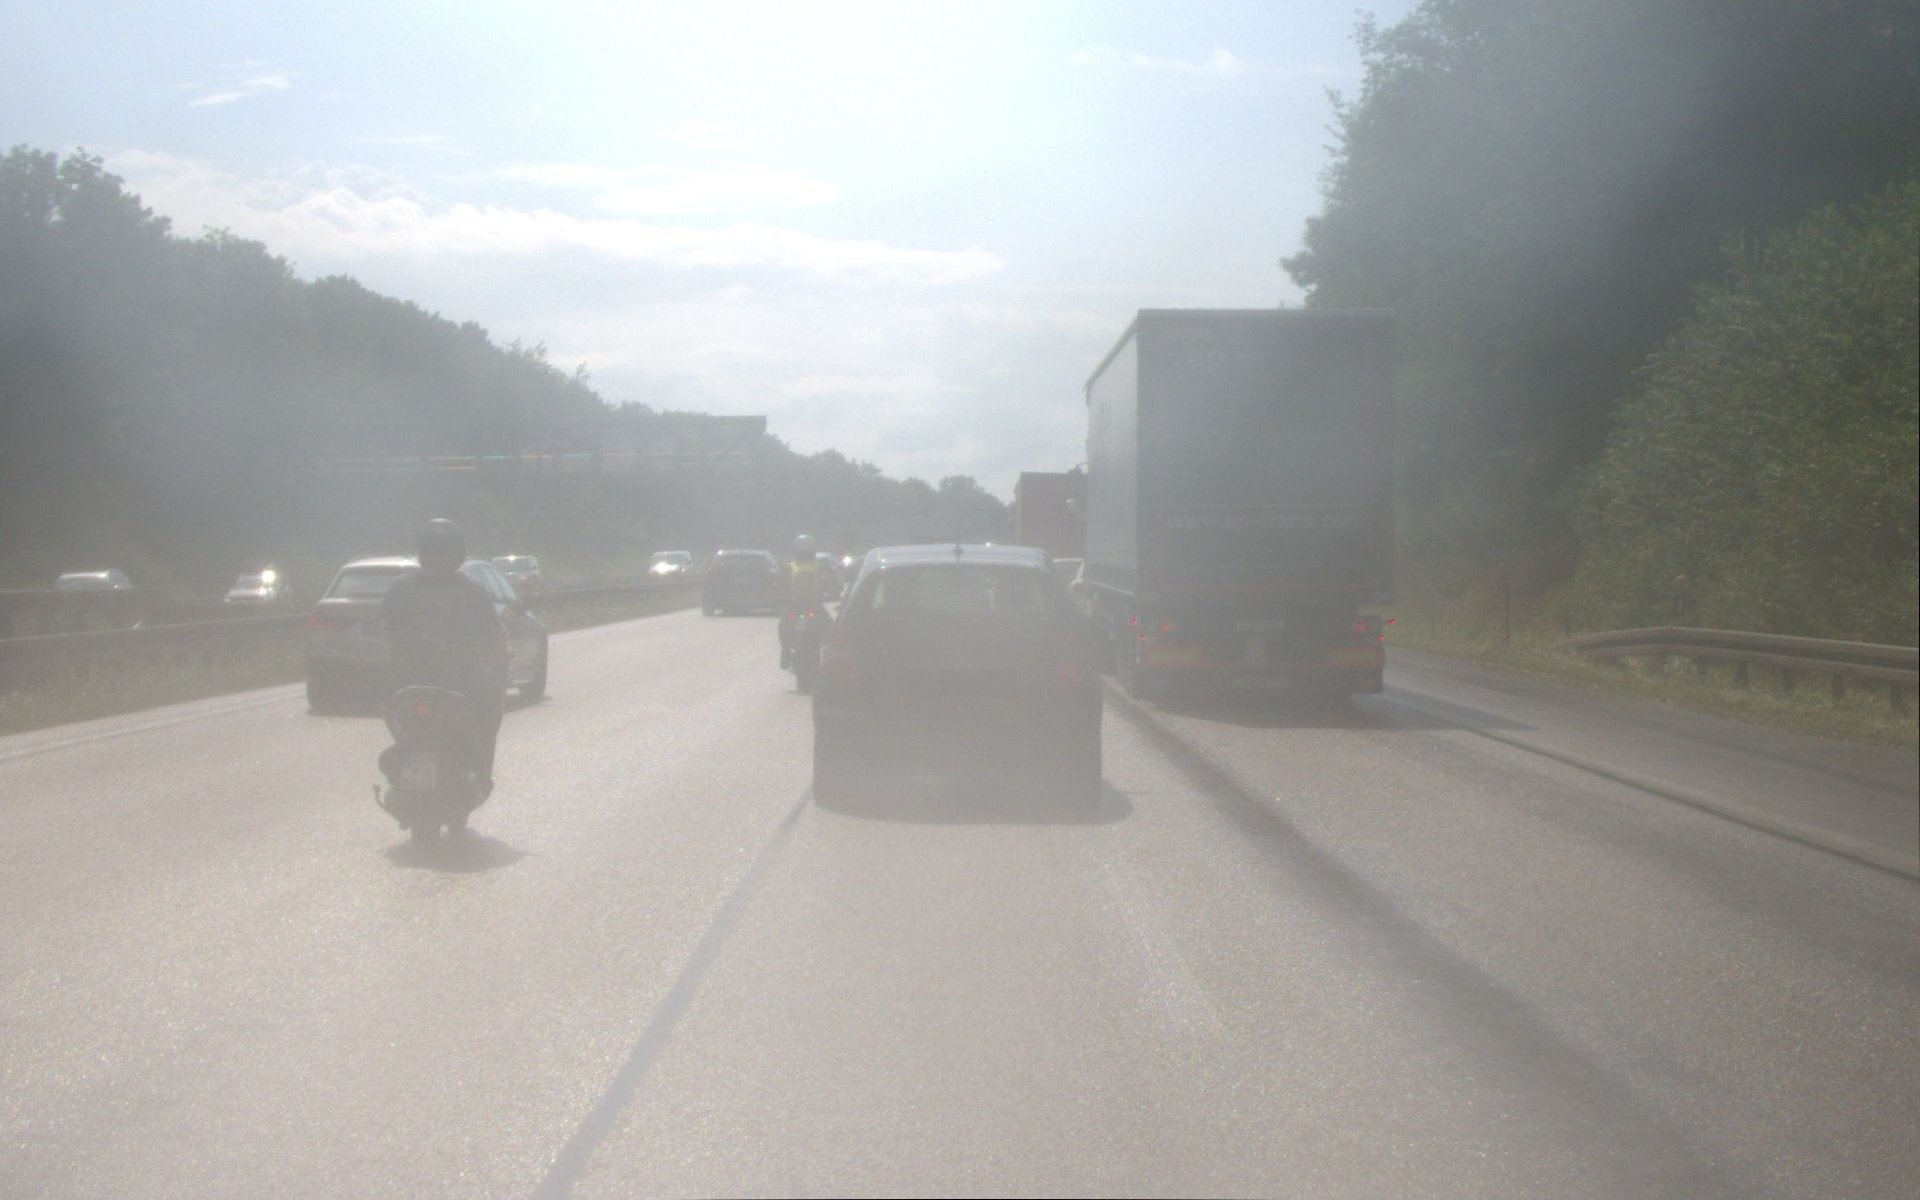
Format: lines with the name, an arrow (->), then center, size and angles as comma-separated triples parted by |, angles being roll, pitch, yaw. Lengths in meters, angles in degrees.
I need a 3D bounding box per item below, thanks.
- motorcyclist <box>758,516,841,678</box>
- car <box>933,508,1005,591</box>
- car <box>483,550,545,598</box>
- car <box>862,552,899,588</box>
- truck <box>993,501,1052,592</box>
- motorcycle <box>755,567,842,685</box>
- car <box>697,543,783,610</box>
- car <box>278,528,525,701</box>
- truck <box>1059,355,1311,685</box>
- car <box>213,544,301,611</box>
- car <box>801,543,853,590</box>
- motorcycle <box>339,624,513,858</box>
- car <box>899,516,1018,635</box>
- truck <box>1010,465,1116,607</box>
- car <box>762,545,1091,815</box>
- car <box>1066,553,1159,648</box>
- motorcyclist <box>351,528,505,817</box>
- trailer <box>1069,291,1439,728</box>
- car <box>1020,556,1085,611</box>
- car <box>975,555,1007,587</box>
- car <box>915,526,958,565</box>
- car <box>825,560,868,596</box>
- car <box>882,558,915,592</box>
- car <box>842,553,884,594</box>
motorcyclist -> -1.775, -0.034, 38.124 | 0.821, 1.755, 1.390 | 1, 0, 1
car -> 0.194, -1.211, 82.607 | 1.675, 1.929, 3.773 | 0, 1, 0
car -> -18.056, -1.055, 139.443 | 1.924, 1.905, 4.289 | 0, 1, 0
car -> -4.437, -1.666, 192.000 | 1.993, 2.007, 4.000 | 1, 0, 0
truck -> 3.279, -2.833, 184.350 | 2.882, 4.671, 12.659 | 1, 0, 0
motorcycle -> -1.783, 0.272, 38.234 | 0.819, 1.258, 2.117 | 1, 1, 1
car -> -5.450, -0.598, 85.558 | 1.893, 1.622, 4.195 | 0, 1, 0
car -> -5.452, 0.112, 34.011 | 1.758, 1.589, 4.331 | 0, 1, 0
truck -> 3.052, -1.079, 48.237 | 3.052, 4.310, 5.886 | 1, 0, 0
car -> -22.554, -0.741, 110.413 | 1.993, 2.007, 4.000 | 2, 1, -1
car -> -4.598, -1.154, 118.783 | 1.675, 1.591, 3.437 | 0, 1, 0
motorcycle -> -2.722, 0.692, 17.681 | 0.676, 1.083, 1.982 | 1, 1, -3
car -> -0.047, -0.426, 60.633 | 1.993, 2.007, 4.000 | 1, 0, -1
truck -> 3.268, -2.034, 111.570 | 3.202, 4.389, 9.432 | 1, 1, 0
car -> -0.211, 0.442, 22.252 | 1.915, 1.560, 4.314 | 0, 1, 0
car -> 3.294, -0.002, 74.958 | 1.849, 2.007, 4.087 | 1, 0, 0
motorcyclist -> -2.724, 0.358, 17.689 | 0.670, 1.437, 1.020 | 1, 0, -3
trailer -> 3.128, -0.977, 41.064 | 3.088, 4.298, 14.105 | 0, 1, 0
car -> 2.534, -0.471, 94.725 | 1.675, 1.485, 3.437 | 0, 1, 0
car -> 2.047, -1.911, 226.758 | 1.993, 2.007, 4.000 | 1, 0, -1
car -> -0.920, -2.097, 133.053 | 1.632, 1.485, 3.437 | 0, 1, 0
car -> -4.778, -0.935, 144.968 | 1.675, 1.485, 3.437 | 0, 1, 0
car -> -3.790, -1.538, 211.682 | 1.993, 2.007, 4.000 | 1, 0, 0
car -> -4.800, -1.305, 170.986 | 1.993, 2.007, 4.000 | 1, 0, 0
